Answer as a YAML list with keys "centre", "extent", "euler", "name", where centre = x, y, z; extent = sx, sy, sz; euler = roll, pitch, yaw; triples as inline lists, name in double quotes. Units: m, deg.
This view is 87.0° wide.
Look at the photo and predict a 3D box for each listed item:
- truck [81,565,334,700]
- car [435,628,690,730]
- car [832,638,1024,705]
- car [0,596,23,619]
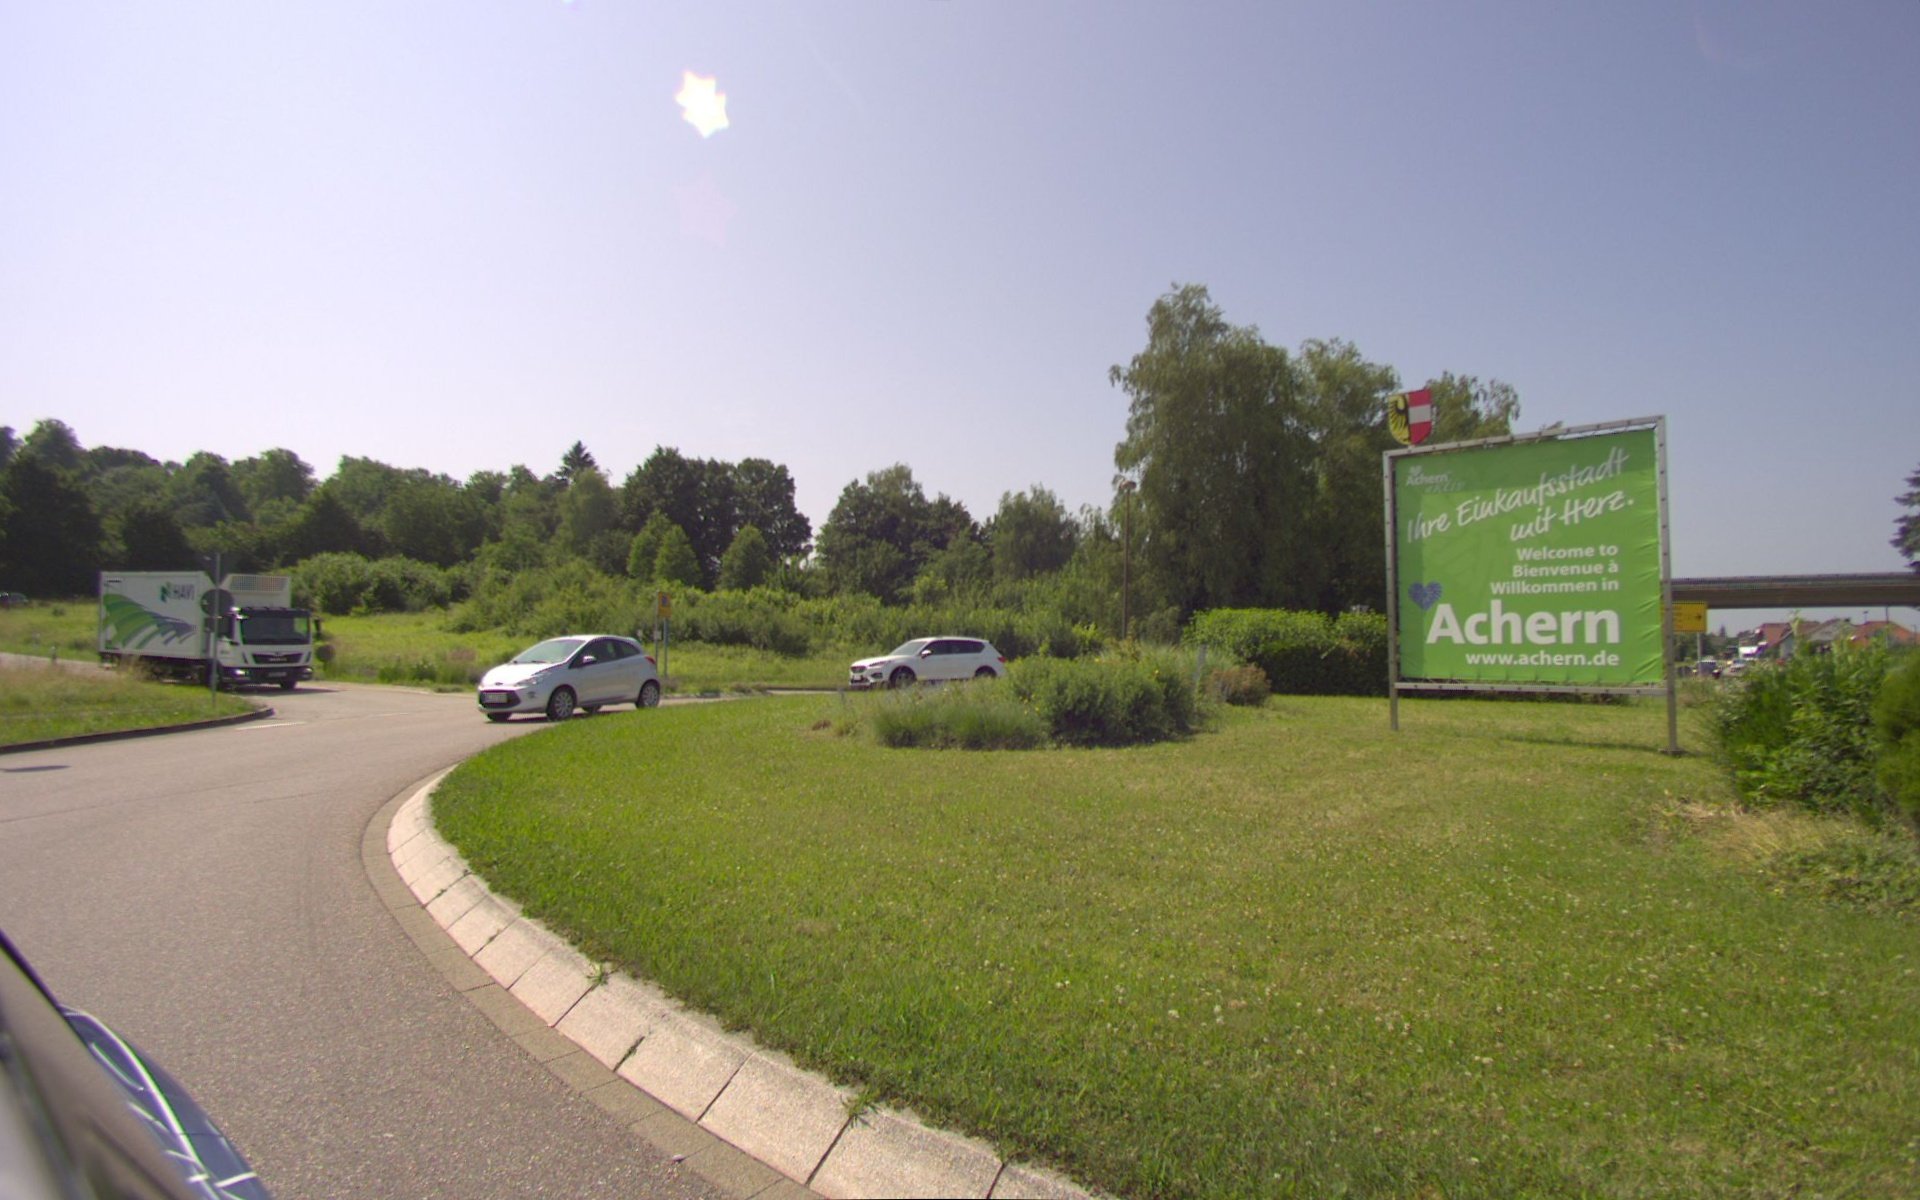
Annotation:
- centre: [-24.023, 0.968, 32.189]
  extent: [8.981, 3.858, 2.873]
  euler: [0, -1, 28]
  name: "truck"
- centre: [-7.219, 1.391, 18.854]
  extent: [2.115, 1.628, 4.166]
  euler: [-3, -2, 23]
  name: "car"
- centre: [-0.860, 1.946, 28.639]
  extent: [5.035, 1.665, 2.204]
  euler: [1, -2, -33]
  name: "car"
- centre: [-74.221, 0.541, 77.484]
  extent: [1.880, 1.607, 4.386]
  euler: [2, -4, -17]
  name: "car"
